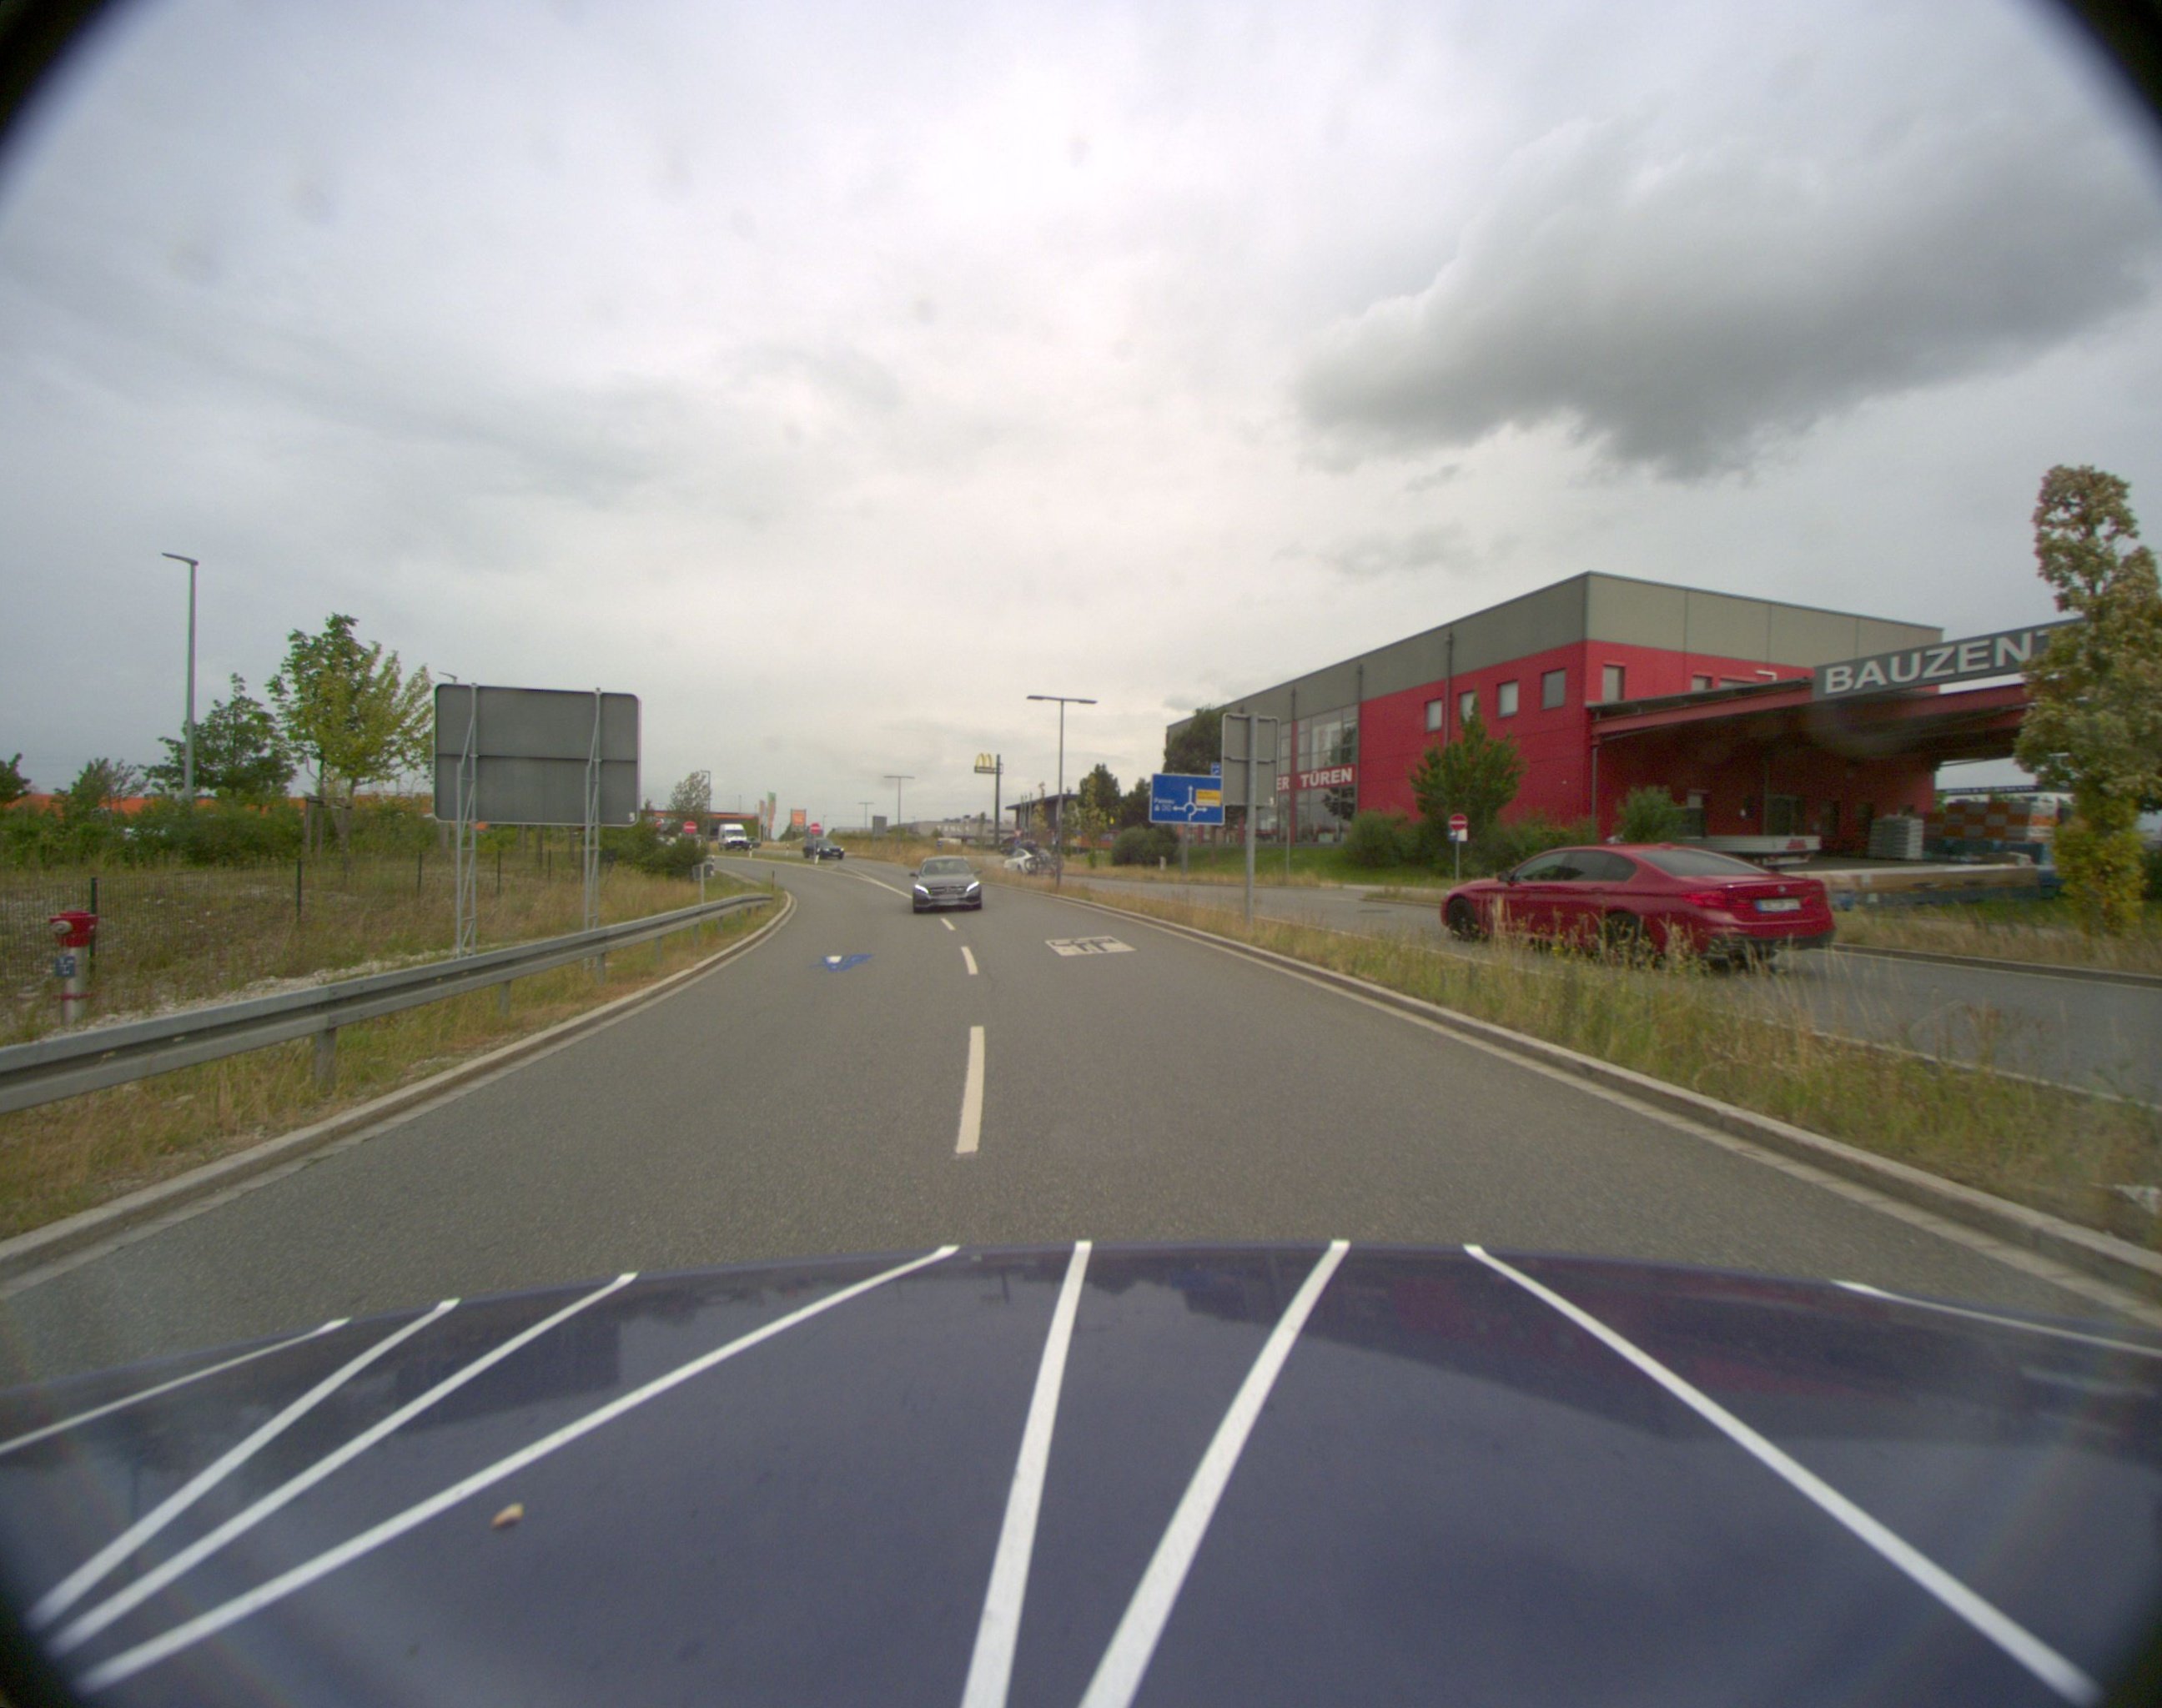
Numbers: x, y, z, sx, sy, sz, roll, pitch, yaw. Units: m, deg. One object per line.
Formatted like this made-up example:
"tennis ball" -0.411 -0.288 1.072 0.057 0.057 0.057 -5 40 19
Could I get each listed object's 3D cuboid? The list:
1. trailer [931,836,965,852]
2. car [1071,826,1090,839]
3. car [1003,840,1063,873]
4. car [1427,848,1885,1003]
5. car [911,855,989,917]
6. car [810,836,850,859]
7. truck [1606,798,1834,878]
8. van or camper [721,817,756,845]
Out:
"trailer" -17.818 -1.363 101.782 4.133 2.079 1.816 3 1 30
"car" -0.004 -2.719 95.627 1.894 1.650 4.019 1 2 7
"car" -2.676 0.133 41.062 1.916 1.617 4.629 -3 1 -20
"car" 6.894 0.681 10.032 1.797 1.439 4.967 -3 1 -8
"car" -3.743 0.831 21.508 1.908 1.488 4.335 -3 0 -11
"car" -20.521 -0.531 62.052 1.847 1.710 3.989 -3 2 -36
"truck" 21.976 -0.538 26.564 2.041 2.473 5.897 -1 1 -18
"van or camper" -33.783 -2.279 74.848 2.338 2.635 6.028 -1 2 -32
